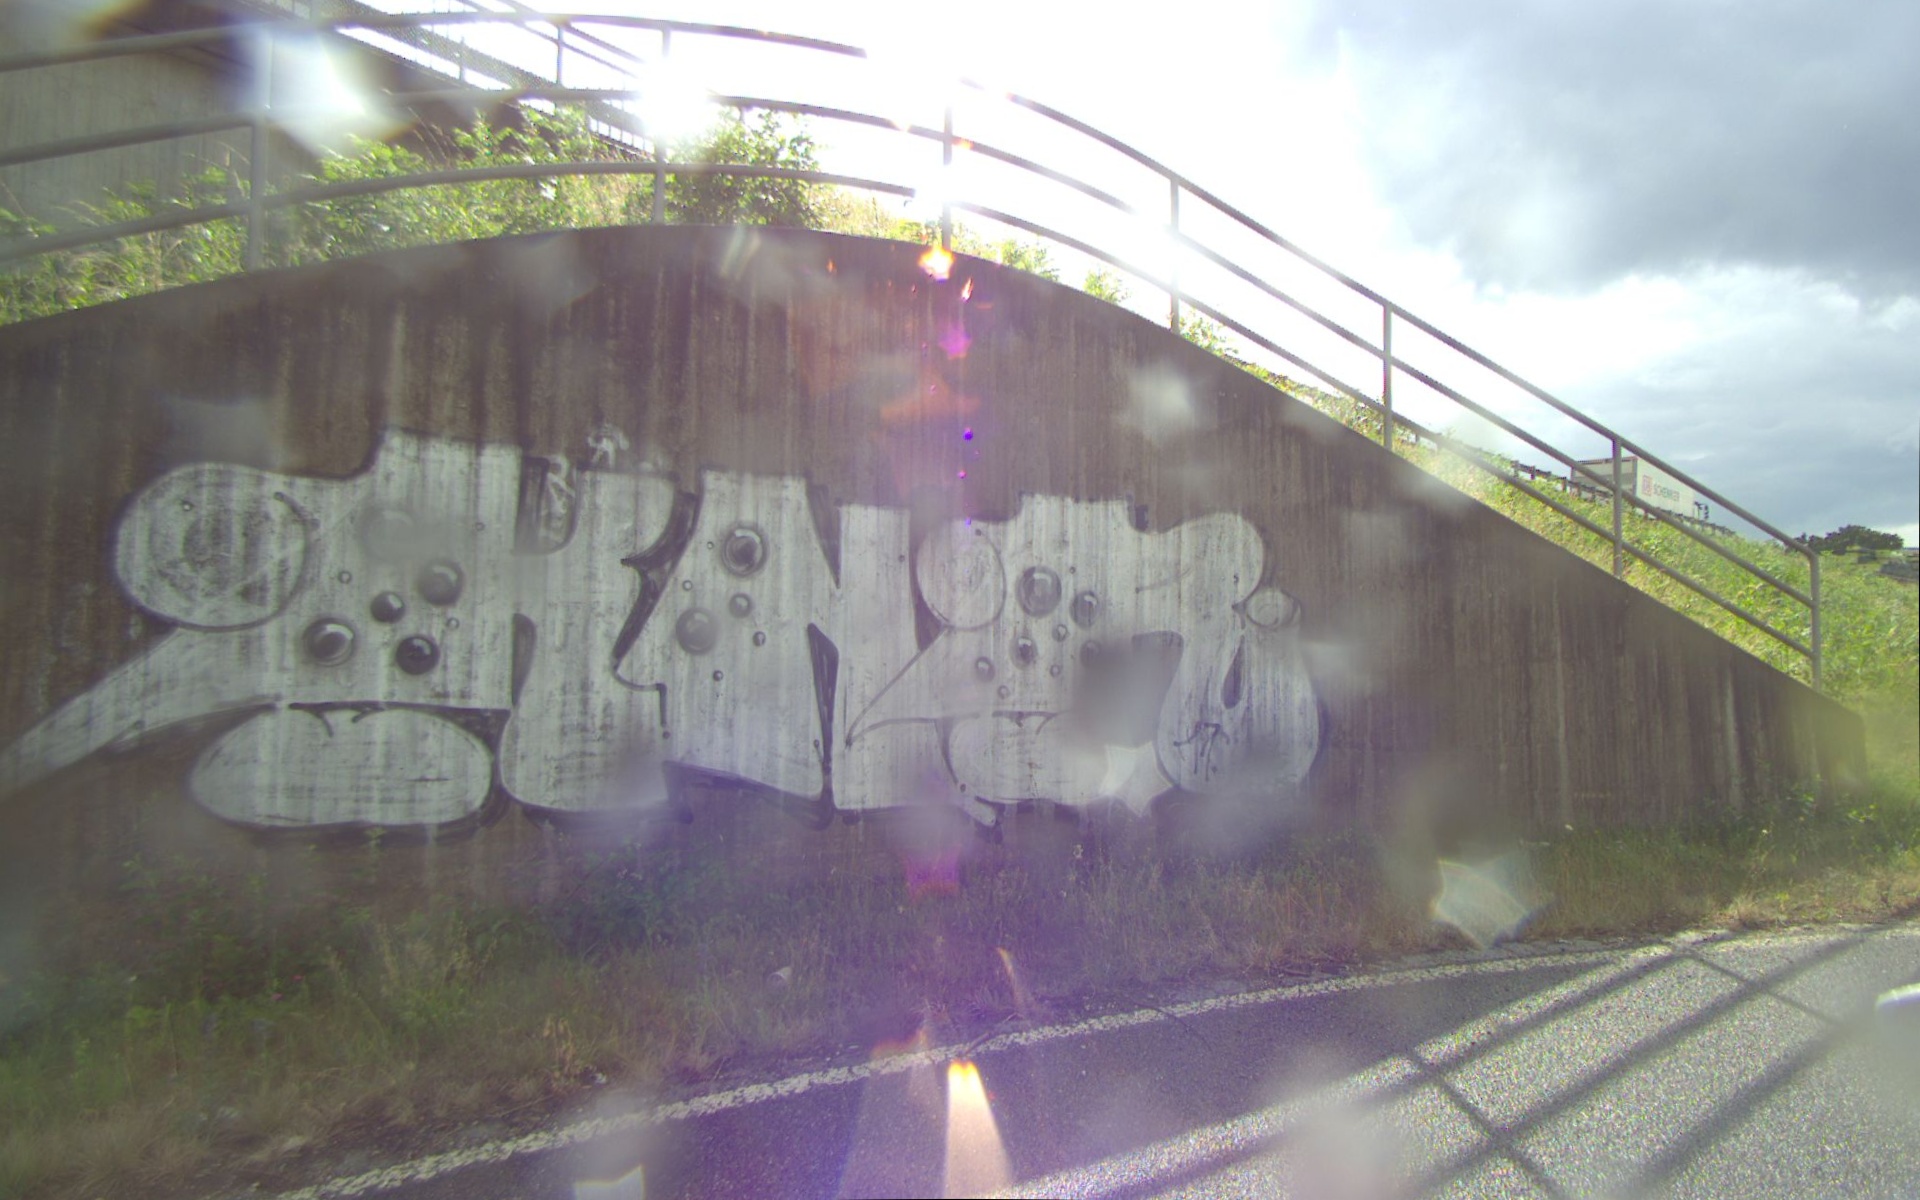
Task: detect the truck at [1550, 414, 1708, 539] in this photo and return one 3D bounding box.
[{"bbox_3d":[29.964,-5.252,44.787,9.159,4.017,3.156,5,-3,-38],"label":"truck"}]

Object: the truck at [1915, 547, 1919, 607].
[{"bbox_3d":[82.822,-1.208,80.906,19.177,4.561,4.434,4,-3,-34],"label":"truck"}]

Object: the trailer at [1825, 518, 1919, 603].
[{"bbox_3d":[66.810,-2.454,70.176,20.010,4.007,4.387,4,-3,-33],"label":"trailer"}]
